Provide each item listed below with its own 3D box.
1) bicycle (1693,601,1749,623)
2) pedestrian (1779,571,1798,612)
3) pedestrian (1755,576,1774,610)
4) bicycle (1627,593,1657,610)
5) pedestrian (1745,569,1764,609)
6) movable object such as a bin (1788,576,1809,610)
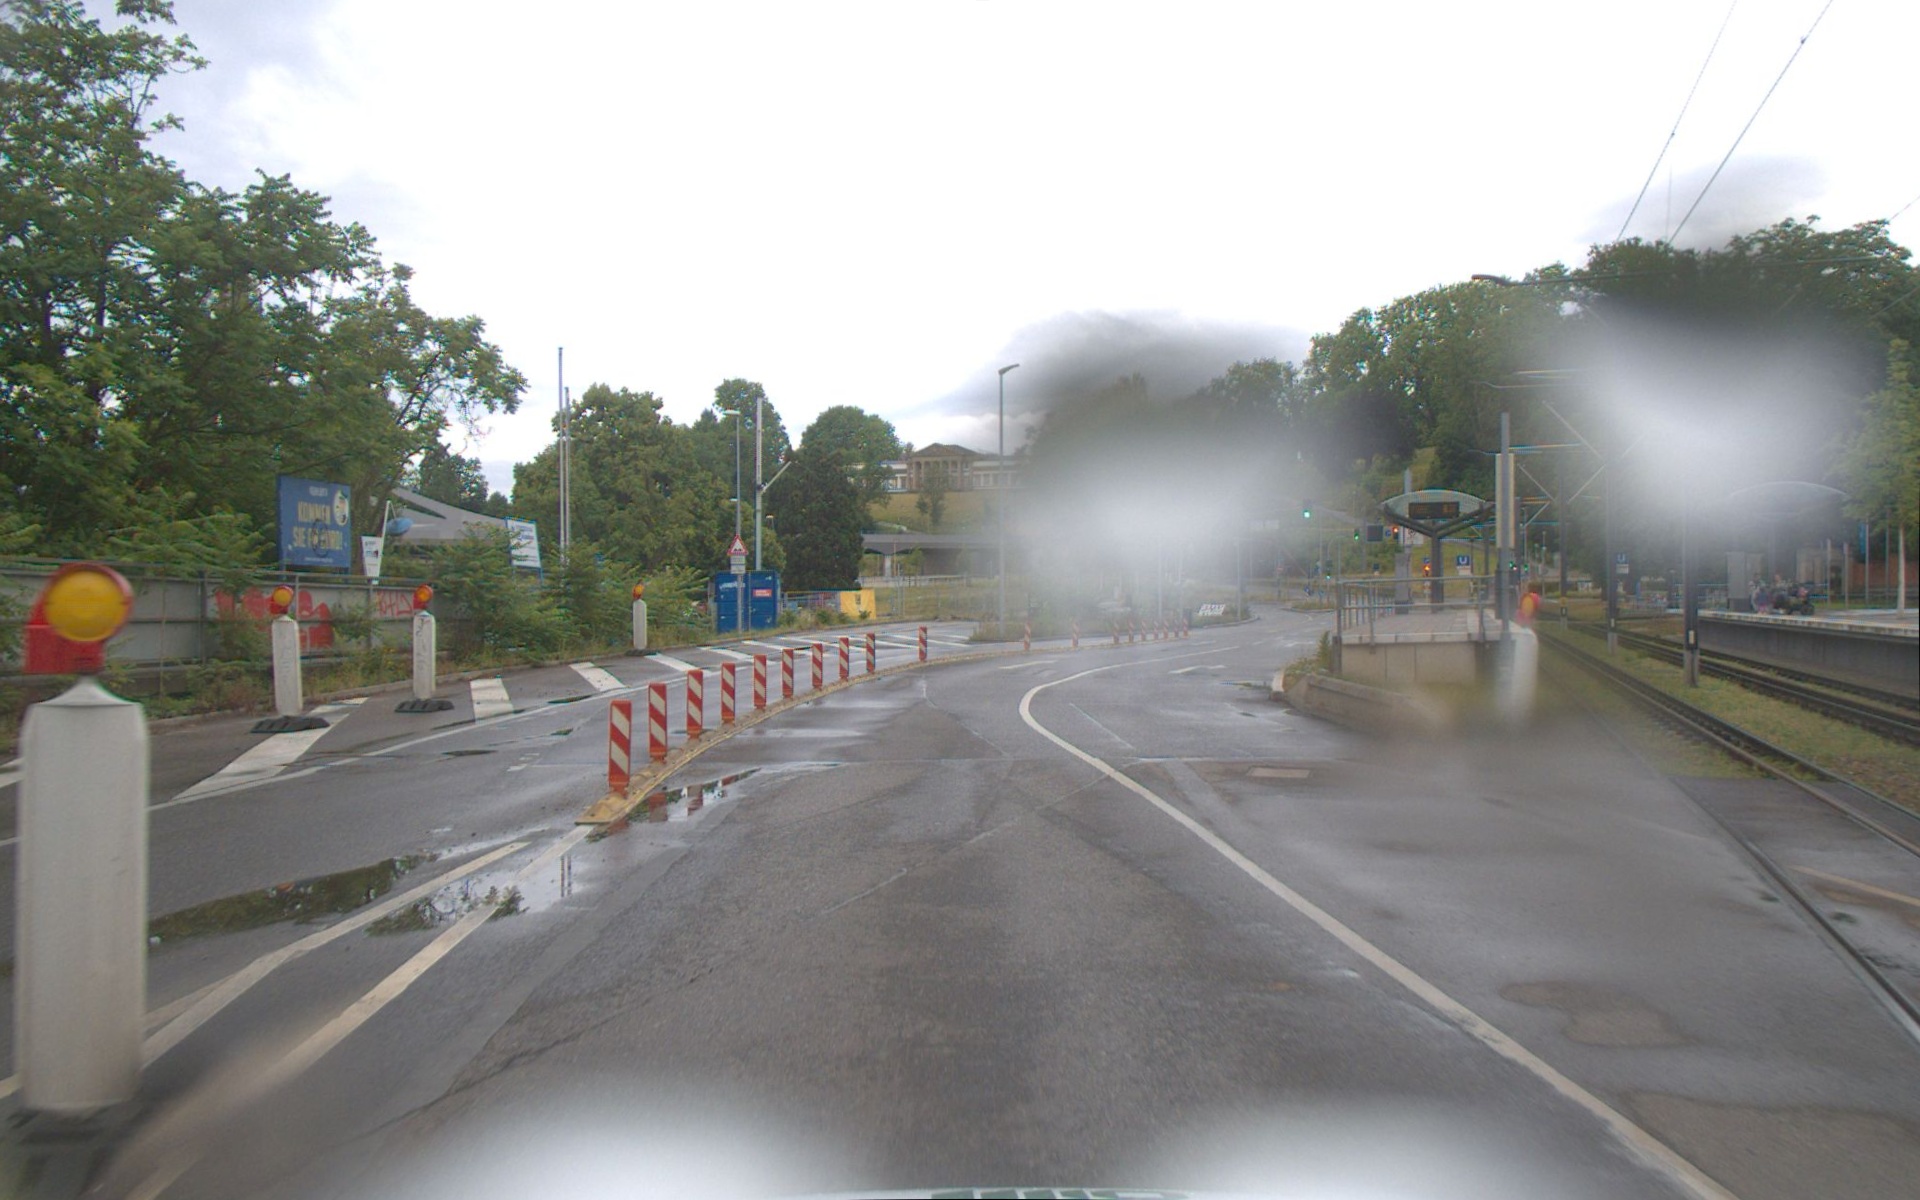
[{"bbox_3d":[35.565,0.583,77.334,2.272,0.974,0.570,-1,0,16],"label":"bicycle"},{"bbox_3d":[25.798,-0.265,51.524,0.428,1.247,0.551,-1,0,18],"label":"pedestrian"},{"bbox_3d":[24.834,-0.225,51.050,0.428,1.026,0.551,-1,-1,18],"label":"pedestrian"},{"bbox_3d":[45.341,0.092,110.003,1.772,1.050,0.653,-1,0,15],"label":"bicycle"},{"bbox_3d":[24.833,-0.337,51.710,0.428,1.247,0.551,-1,0,18],"label":"pedestrian"},{"bbox_3d":[25.614,-0.202,50.534,0.428,1.026,0.682,-1,0,18],"label":"movable object such as a bin"}]
